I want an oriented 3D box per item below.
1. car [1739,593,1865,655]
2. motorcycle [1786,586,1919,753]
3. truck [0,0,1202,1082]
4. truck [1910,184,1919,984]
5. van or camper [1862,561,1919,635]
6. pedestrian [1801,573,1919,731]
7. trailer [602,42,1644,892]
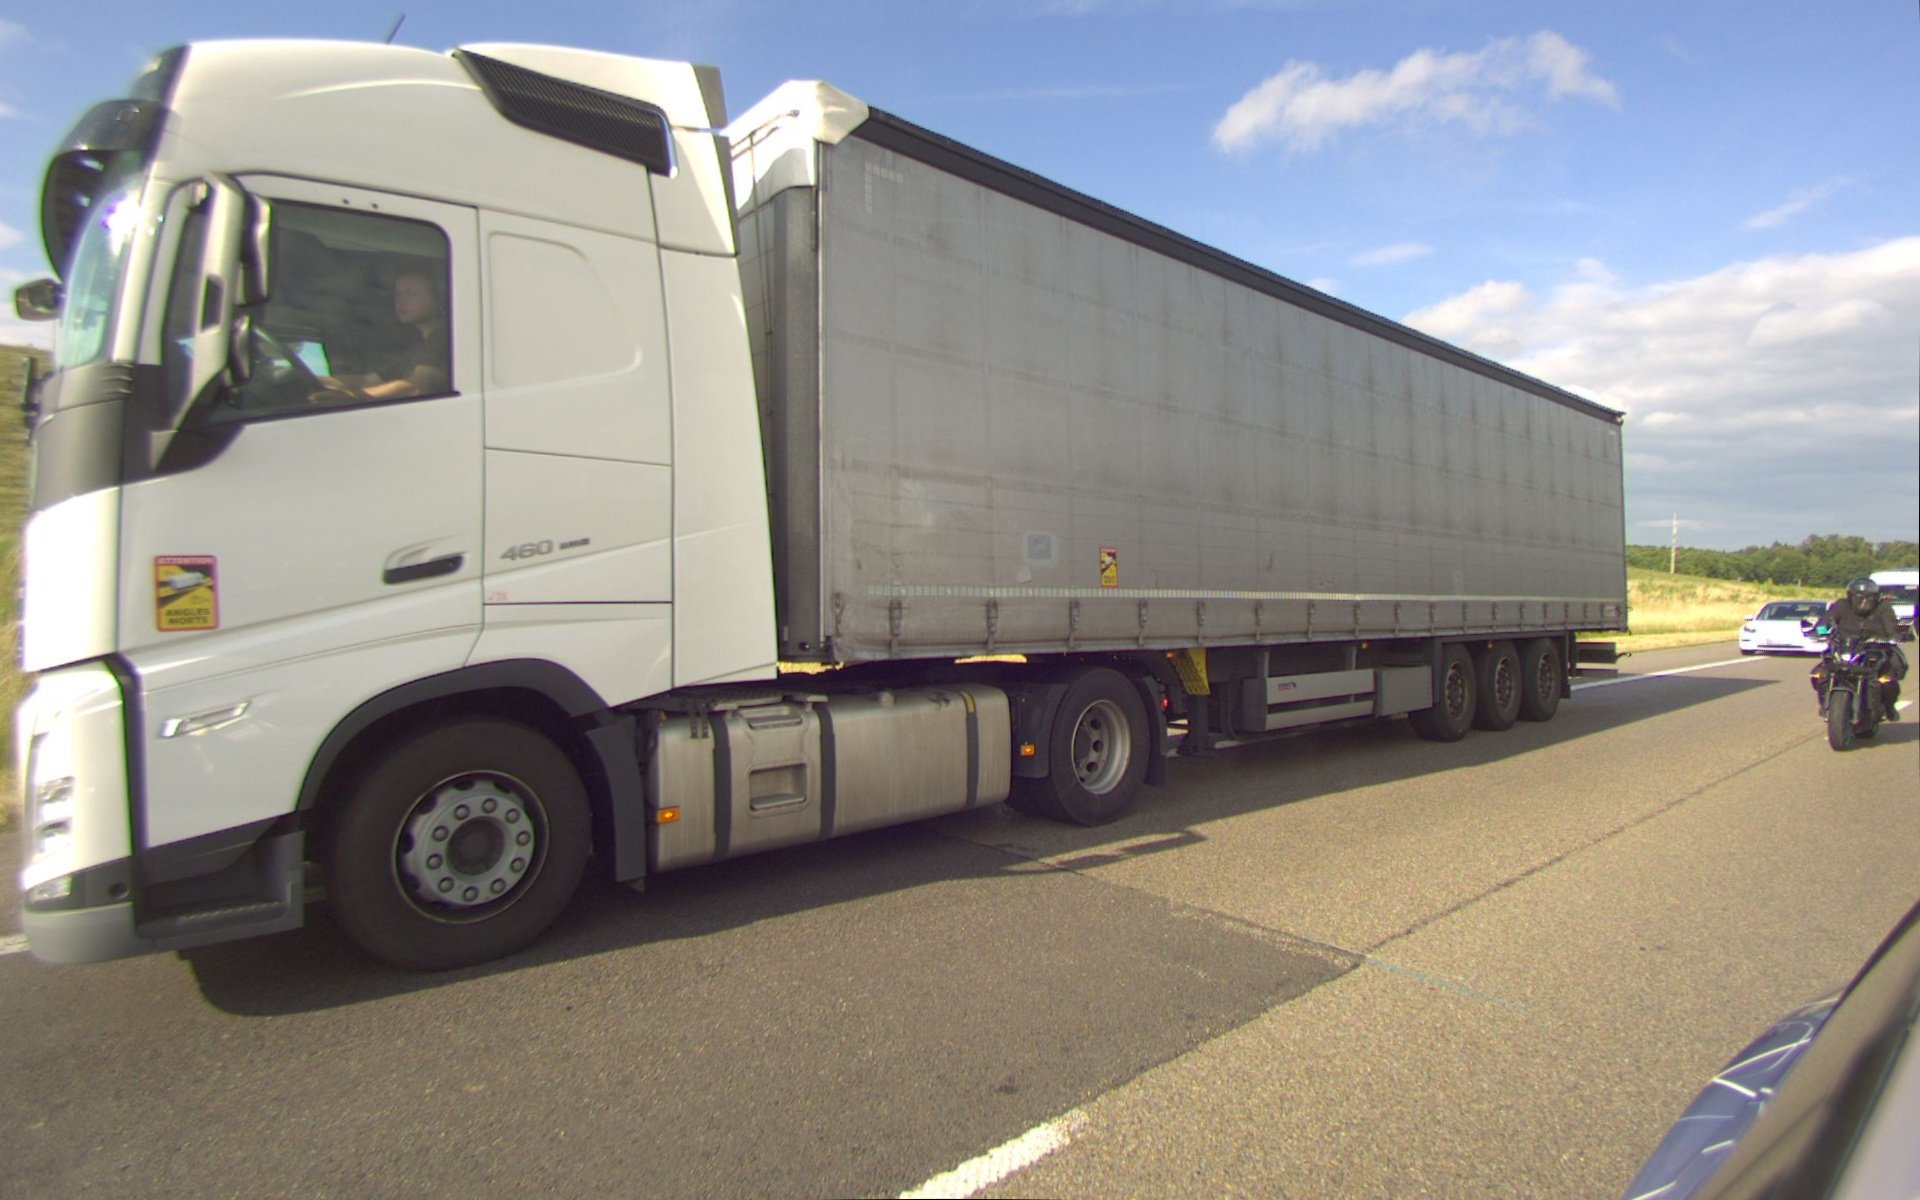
[{"bbox_3d":[22.265,0.565,26.696,4.384,1.435,1.870,-1,1,-41],"label":"car"},{"bbox_3d":[9.029,0.602,10.063,2.230,1.474,0.897,-1,1,-41],"label":"motorcycle"},{"bbox_3d":[-1.441,-0.662,5.951,6.014,4.091,2.605,0,1,-42],"label":"truck"},{"bbox_3d":[8.446,-0.144,6.482,10.970,3.199,2.499,0,0,-42],"label":"truck"},{"bbox_3d":[35.158,-0.114,37.282,6.301,2.576,2.100,-1,1,-41],"label":"van or camper"},{"bbox_3d":[9.040,0.469,10.067,0.966,1.474,0.897,0,1,-41],"label":"pedestrian"},{"bbox_3d":[3.463,-0.692,10.350,13.462,4.091,2.621,0,1,-42],"label":"trailer"}]
